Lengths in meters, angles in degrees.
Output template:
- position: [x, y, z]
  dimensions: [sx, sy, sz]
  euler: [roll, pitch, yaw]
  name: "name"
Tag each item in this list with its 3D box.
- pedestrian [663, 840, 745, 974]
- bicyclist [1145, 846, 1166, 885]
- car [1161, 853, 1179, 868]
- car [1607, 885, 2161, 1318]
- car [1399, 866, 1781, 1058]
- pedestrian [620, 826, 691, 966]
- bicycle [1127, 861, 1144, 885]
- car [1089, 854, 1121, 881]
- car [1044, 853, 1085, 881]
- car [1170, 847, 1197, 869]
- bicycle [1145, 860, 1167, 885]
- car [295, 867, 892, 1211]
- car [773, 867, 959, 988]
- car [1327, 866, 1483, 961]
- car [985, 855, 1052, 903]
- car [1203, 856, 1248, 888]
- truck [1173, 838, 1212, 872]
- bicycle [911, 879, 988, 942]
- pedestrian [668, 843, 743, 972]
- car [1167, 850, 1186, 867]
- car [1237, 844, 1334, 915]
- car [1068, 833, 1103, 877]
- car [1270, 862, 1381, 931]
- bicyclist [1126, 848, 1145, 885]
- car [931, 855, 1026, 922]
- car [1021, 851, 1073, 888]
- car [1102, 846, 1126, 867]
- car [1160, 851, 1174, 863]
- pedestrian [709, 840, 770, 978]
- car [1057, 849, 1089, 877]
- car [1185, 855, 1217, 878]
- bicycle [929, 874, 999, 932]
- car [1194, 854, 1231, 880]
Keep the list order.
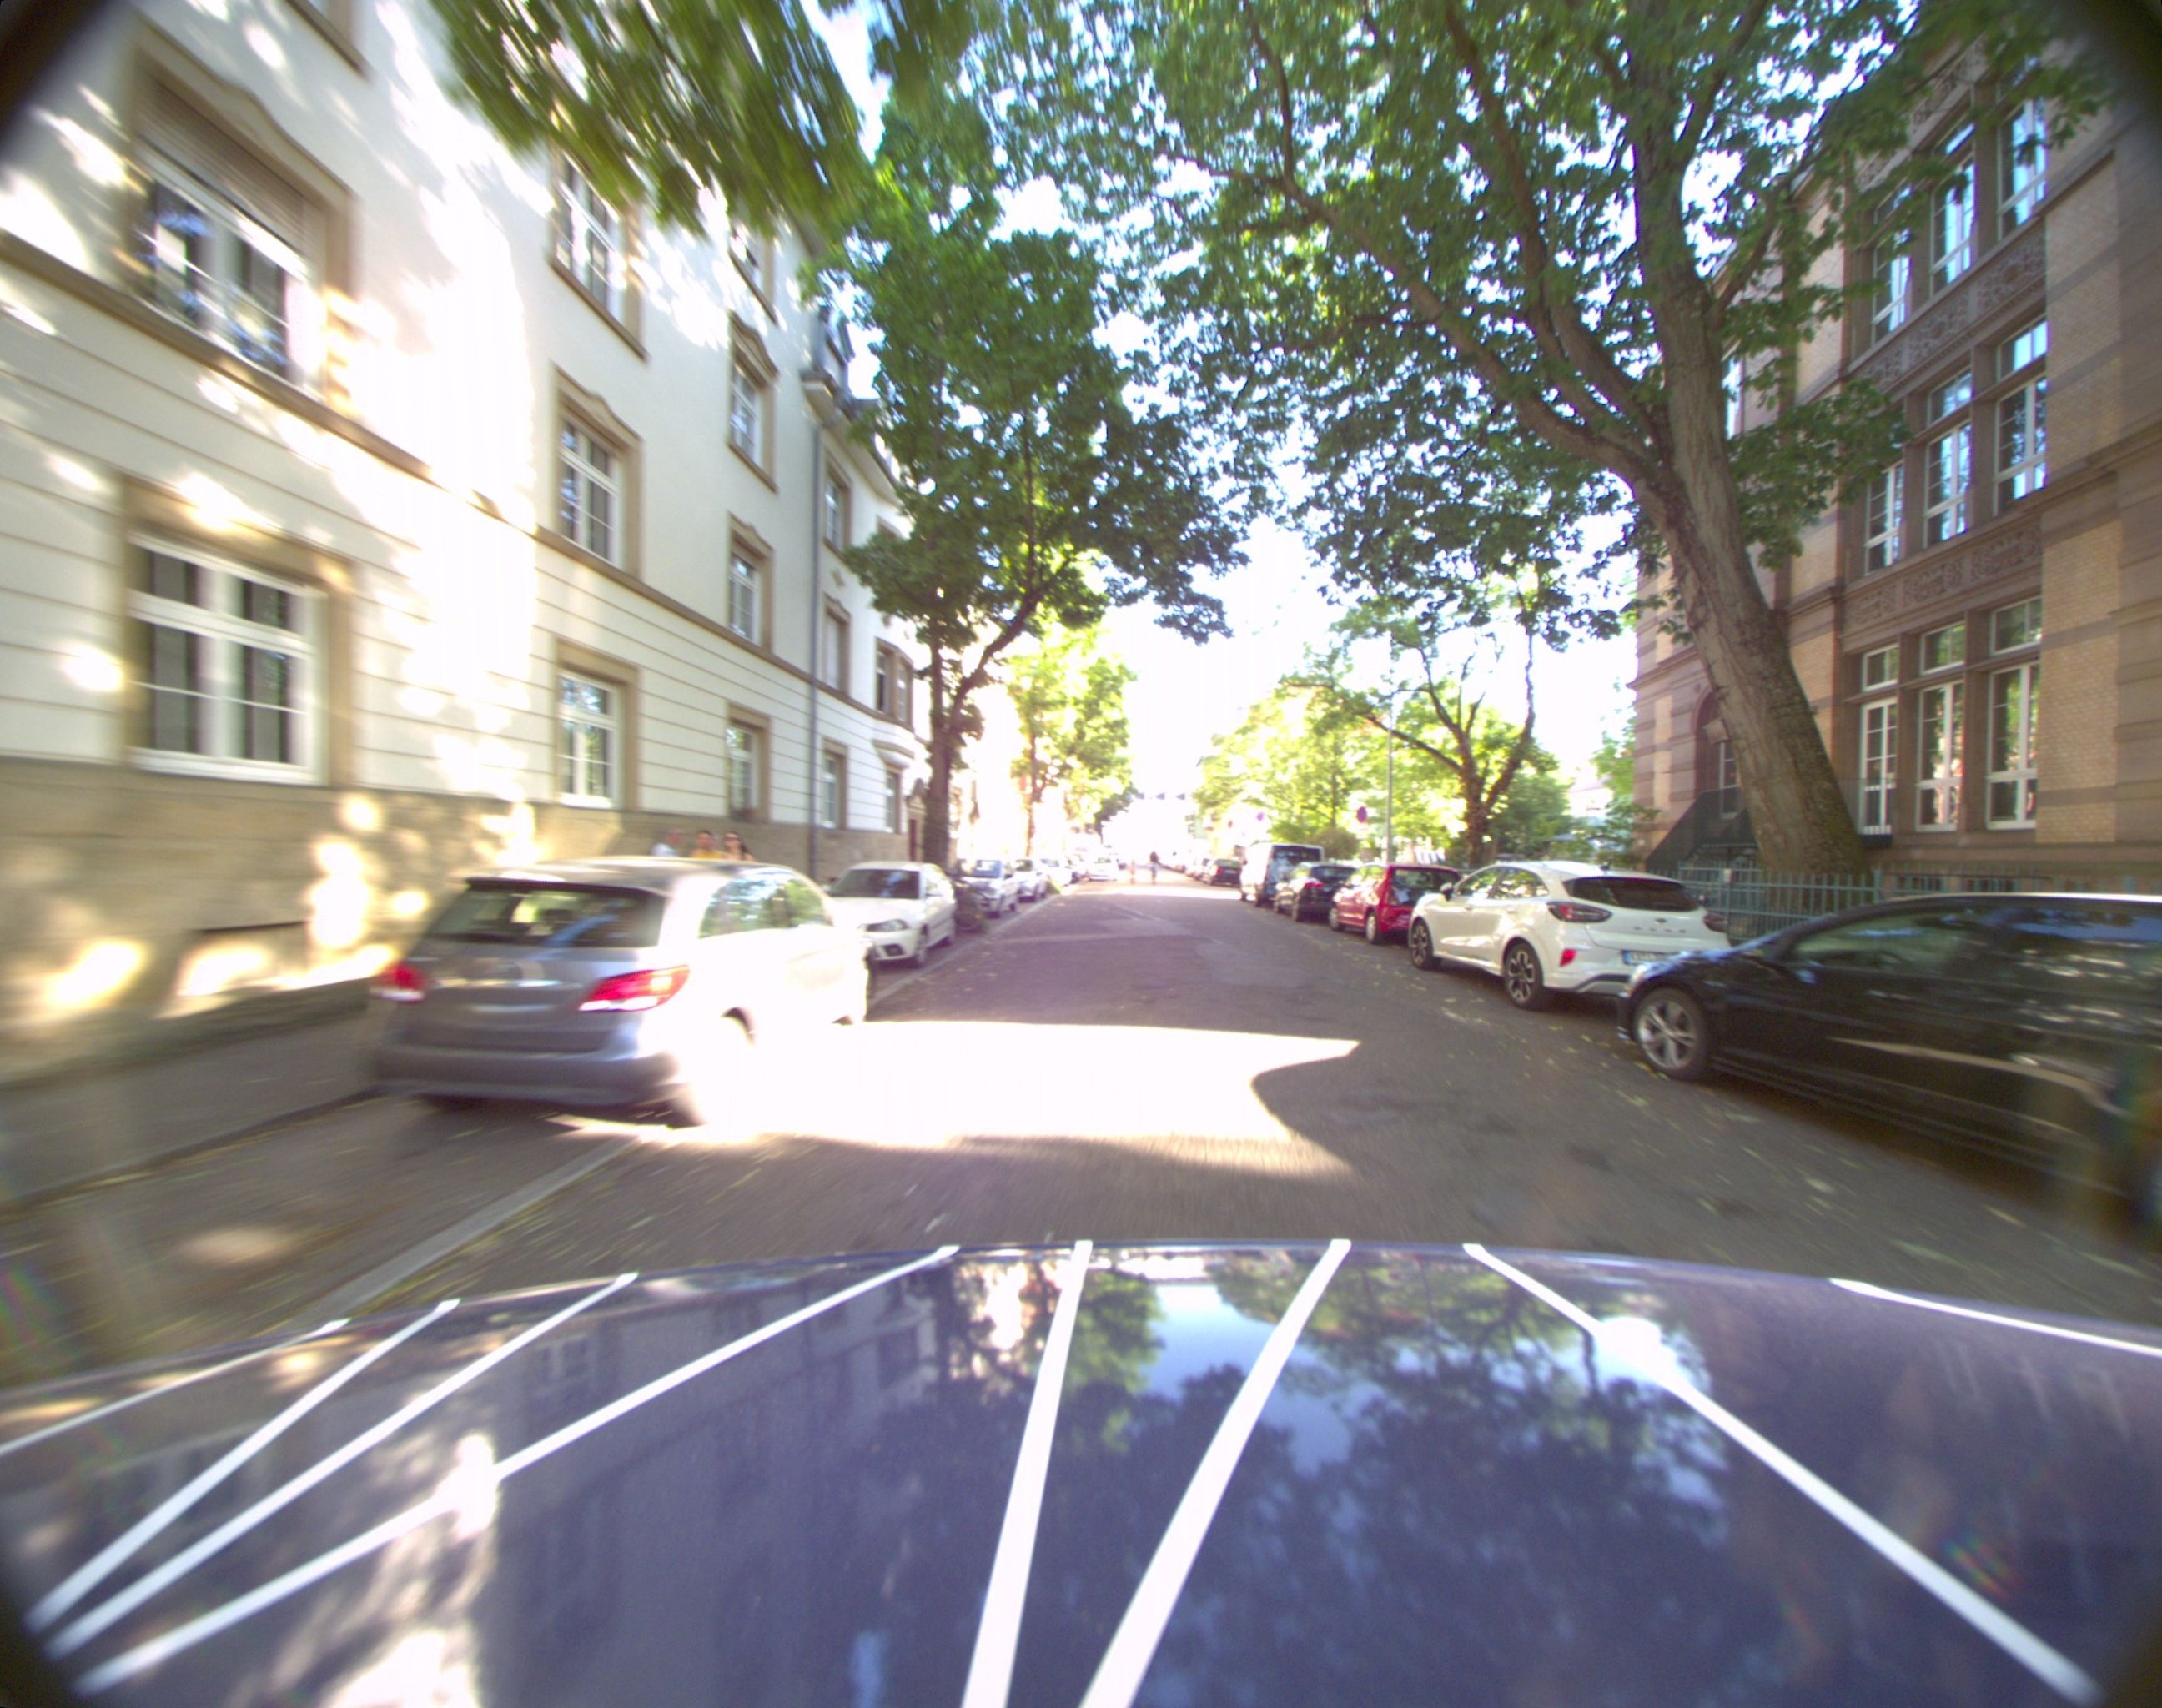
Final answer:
- position: [-4.892, 0.659, 9.901]
  dimensions: [0.624, 1.675, 0.818]
  euler: [1, 1, 3]
  name: "pedestrian"
- position: [3.708, 0.546, 37.949]
  dimensions: [0.966, 1.904, 1.140]
  euler: [1, 1, 4]
  name: "bicyclist"
- position: [10.452, 0.784, 89.606]
  dimensions: [1.808, 1.638, 4.001]
  euler: [1, 1, 3]
  name: "car"
- position: [4.915, 1.072, 3.776]
  dimensions: [1.585, 1.456, 3.998]
  euler: [4, 1, -2]
  name: "car"
- position: [5.388, 0.998, 8.817]
  dimensions: [1.792, 1.524, 4.001]
  euler: [4, 0, 3]
  name: "car"
- position: [-5.759, 0.548, 10.309]
  dimensions: [0.529, 1.834, 0.707]
  euler: [1, 1, 5]
  name: "pedestrian"
- position: [2.725, 0.925, 37.987]
  dimensions: [0.810, 1.136, 2.548]
  euler: [1, 0, 4]
  name: "bicycle"
- position: [1.418, 0.756, 43.723]
  dimensions: [1.653, 1.449, 4.001]
  euler: [1, 0, 4]
  name: "car"
- position: [-0.818, 0.645, 40.399]
  dimensions: [1.812, 1.412, 4.001]
  euler: [1, 0, 4]
  name: "car"
- position: [9.692, 0.376, 72.243]
  dimensions: [2.145, 2.002, 4.810]
  euler: [1, 0, 4]
  name: "car"
- position: [3.702, 0.915, 37.929]
  dimensions: [0.985, 1.136, 2.548]
  euler: [1, 0, 4]
  name: "bicycle"
- position: [-2.912, 0.931, 5.772]
  dimensions: [1.684, 1.531, 4.135]
  euler: [2, 0, 3]
  name: "car"
- position: [-3.006, 0.955, 11.444]
  dimensions: [1.727, 1.399, 3.855]
  euler: [2, 0, -1]
  name: "car"
- position: [5.874, 1.009, 14.188]
  dimensions: [1.624, 1.455, 3.311]
  euler: [2, 0, 4]
  name: "car"
- position: [-2.019, 0.774, 25.544]
  dimensions: [1.650, 1.433, 4.001]
  euler: [1, 0, 4]
  name: "car"
- position: [7.342, 0.882, 38.918]
  dimensions: [1.738, 1.456, 4.001]
  euler: [1, 0, 4]
  name: "car"
- position: [9.161, 0.062, 62.987]
  dimensions: [2.394, 2.641, 7.094]
  euler: [1, 1, 2]
  name: "truck"
- position: [-2.542, 1.087, 14.690]
  dimensions: [1.414, 1.188, 0.336]
  euler: [1, 1, 2]
  name: "bicycle"
- position: [-5.522, 0.763, 11.218]
  dimensions: [0.706, 1.834, 0.840]
  euler: [1, 1, -2]
  name: "pedestrian"
- position: [10.409, 0.490, 83.114]
  dimensions: [1.808, 1.791, 4.191]
  euler: [1, 1, 3]
  name: "car"
- position: [6.406, 0.730, 24.464]
  dimensions: [1.998, 1.946, 5.044]
  euler: [3, 1, 4]
  name: "car"
- position: [0.400, 0.074, 56.005]
  dimensions: [1.998, 2.983, 6.241]
  euler: [-2, 0, 4]
  name: "car"
- position: [5.963, 0.973, 18.998]
  dimensions: [1.730, 1.455, 3.845]
  euler: [2, 0, 4]
  name: "car"
- position: [2.728, 0.589, 37.956]
  dimensions: [0.933, 1.809, 1.078]
  euler: [1, 1, 4]
  name: "bicyclist"
- position: [-2.560, 0.801, 19.791]
  dimensions: [1.639, 1.523, 4.001]
  euler: [1, 0, 4]
  name: "car"
- position: [-1.453, 0.636, 33.912]
  dimensions: [1.823, 1.521, 4.001]
  euler: [1, 0, 4]
  name: "car"
- position: [3.307, 0.210, 75.091]
  dimensions: [2.145, 2.002, 4.864]
  euler: [1, 0, 4]
  name: "car"
- position: [11.217, 0.397, 98.945]
  dimensions: [1.597, 1.557, 4.001]
  euler: [1, 1, 3]
  name: "car"
- position: [-4.334, 0.677, 9.654]
  dimensions: [0.520, 1.708, 0.516]
  euler: [1, 1, 2]
  name: "pedestrian"
- position: [-0.483, 0.550, 47.747]
  dimensions: [1.660, 1.674, 4.084]
  euler: [1, 0, 4]
  name: "car"
- position: [8.057, 0.788, 51.320]
  dimensions: [1.787, 1.450, 4.209]
  euler: [1, 0, 4]
  name: "car"
- position: [-2.472, 1.025, 16.098]
  dimensions: [1.414, 1.188, 0.336]
  euler: [1, 1, 2]
  name: "bicycle"
- position: [7.791, 0.744, 45.255]
  dimensions: [1.754, 1.464, 4.001]
  euler: [0, 0, 4]
  name: "car"
